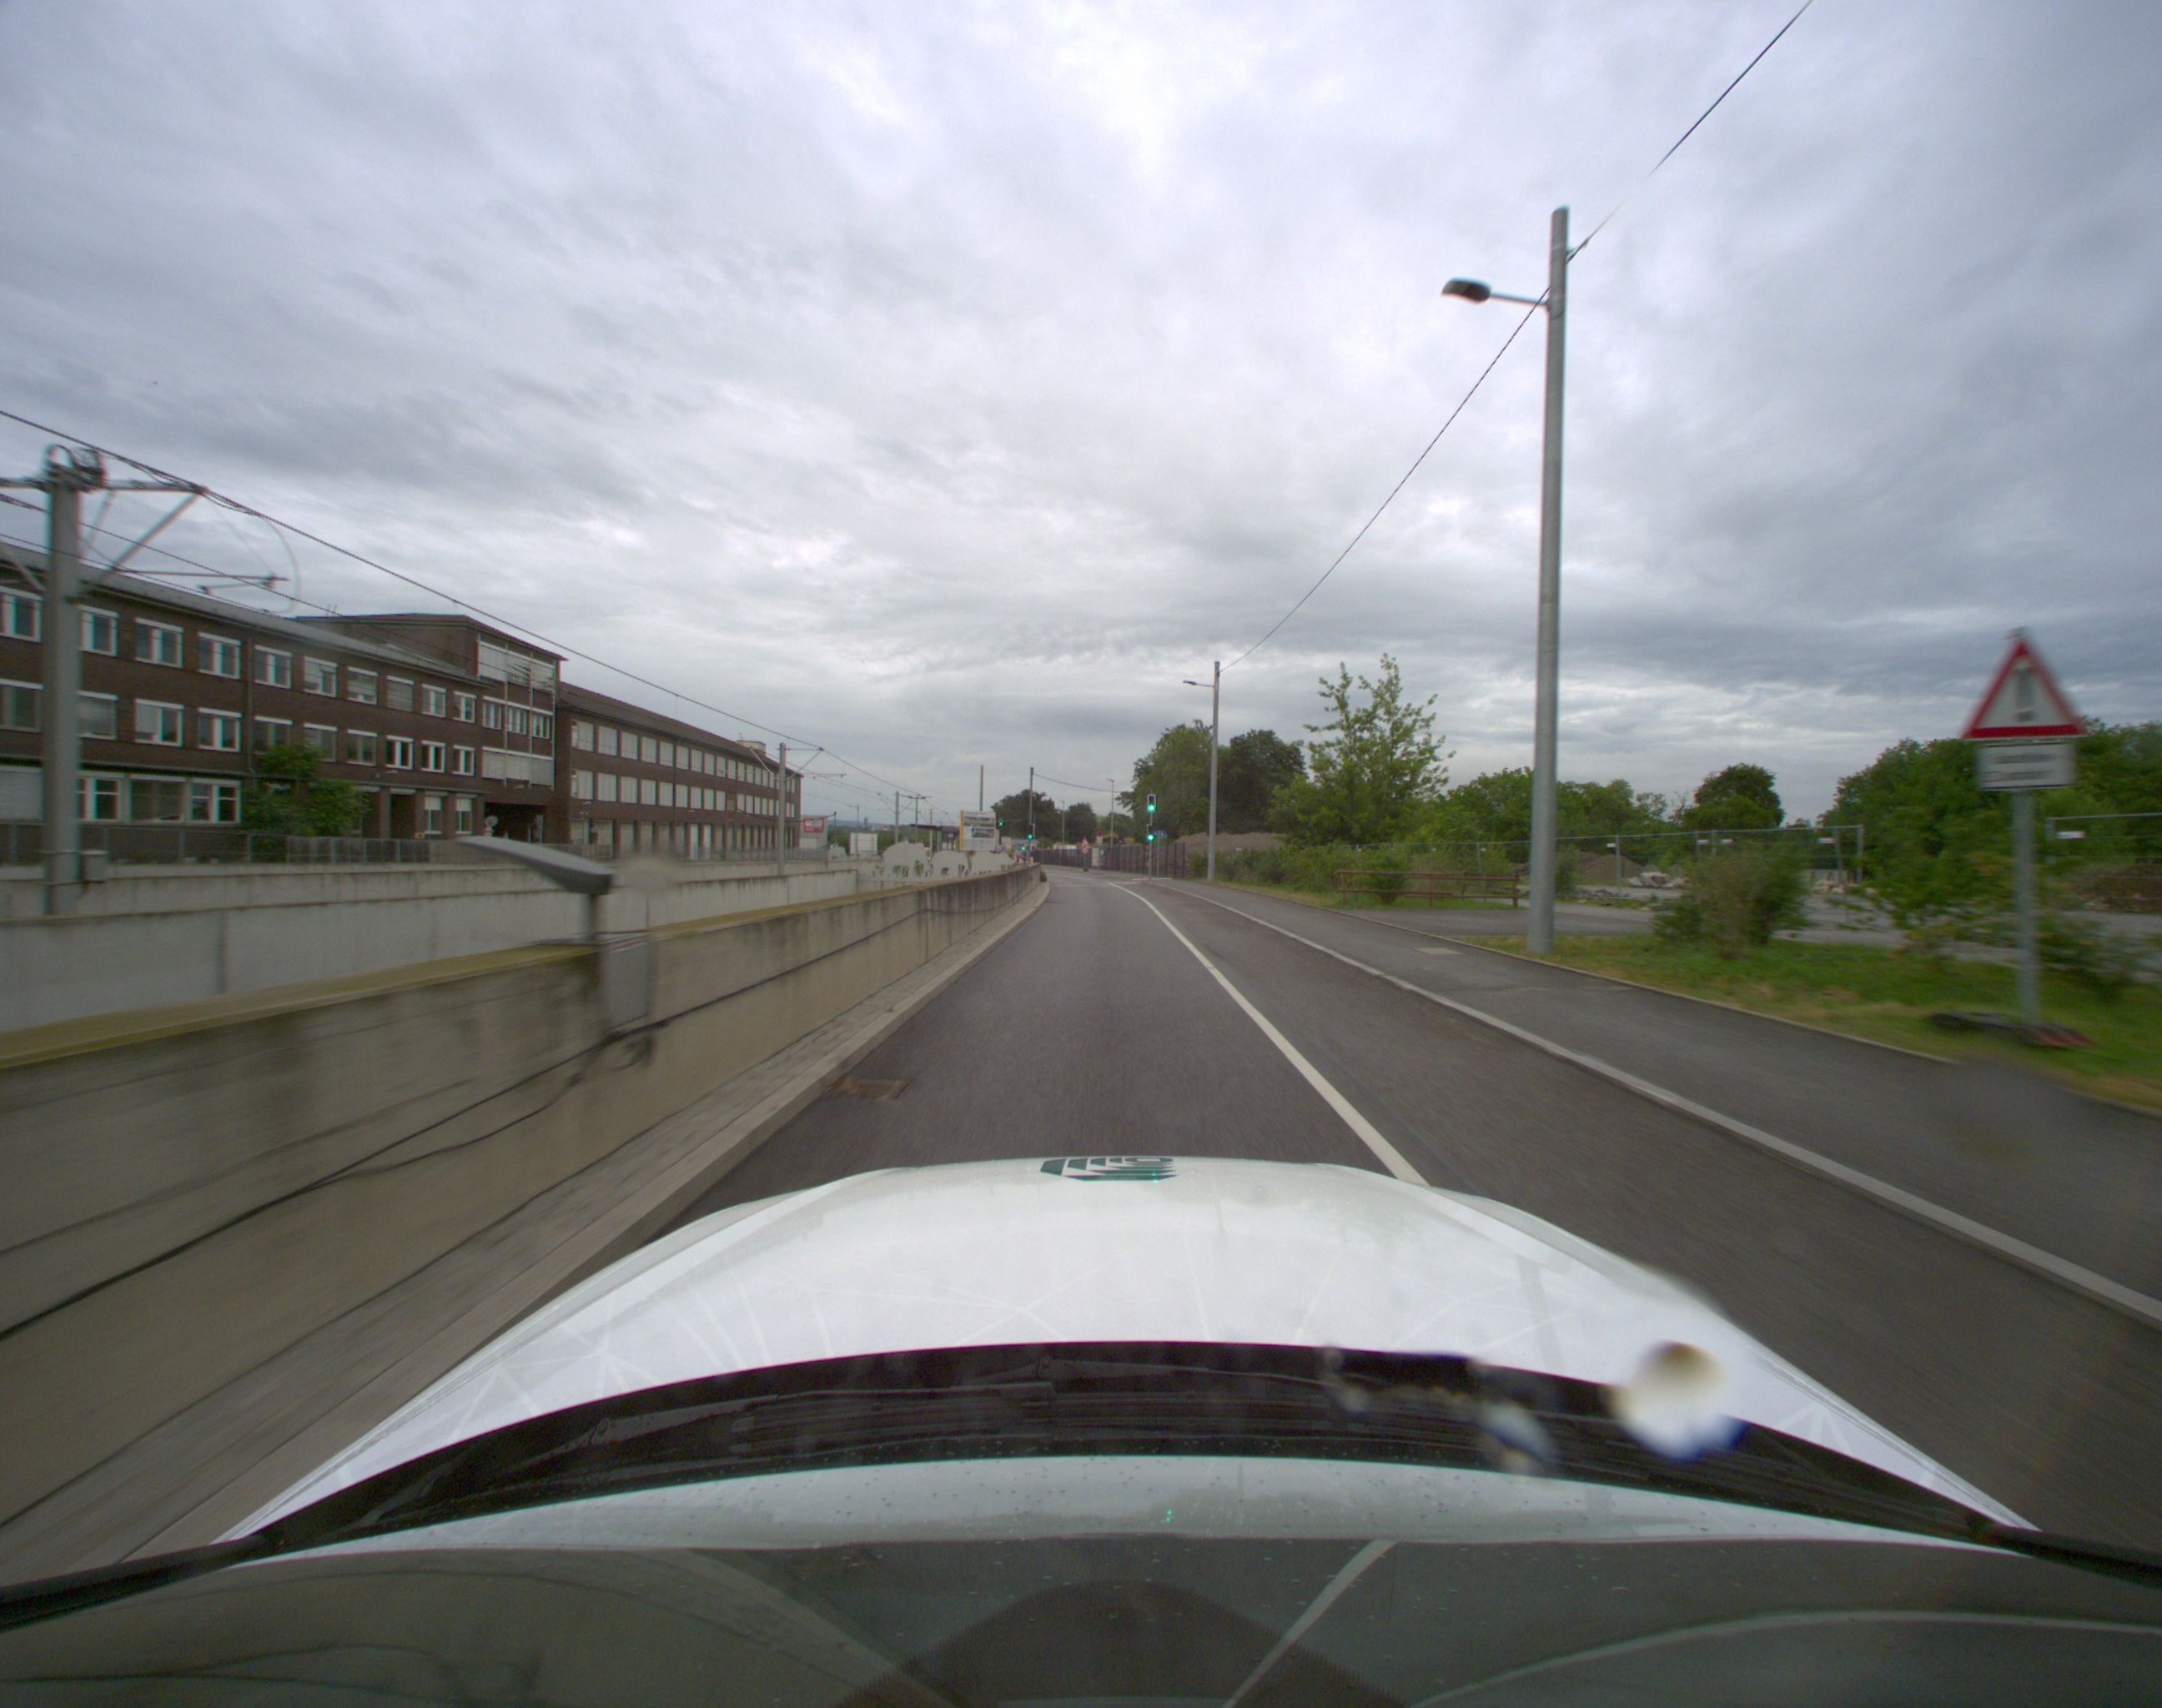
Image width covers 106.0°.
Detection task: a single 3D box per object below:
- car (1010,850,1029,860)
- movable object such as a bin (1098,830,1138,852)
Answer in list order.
[{"bbox_3d":[-11.338,0.202,149.374,1.804,1.794,4.431,0,0,20],"label":"car"},{"bbox_3d":[10.440,-3.576,231.215,11.207,5.995,3.487,-1,-1,-4],"label":"movable object such as a bin"}]
